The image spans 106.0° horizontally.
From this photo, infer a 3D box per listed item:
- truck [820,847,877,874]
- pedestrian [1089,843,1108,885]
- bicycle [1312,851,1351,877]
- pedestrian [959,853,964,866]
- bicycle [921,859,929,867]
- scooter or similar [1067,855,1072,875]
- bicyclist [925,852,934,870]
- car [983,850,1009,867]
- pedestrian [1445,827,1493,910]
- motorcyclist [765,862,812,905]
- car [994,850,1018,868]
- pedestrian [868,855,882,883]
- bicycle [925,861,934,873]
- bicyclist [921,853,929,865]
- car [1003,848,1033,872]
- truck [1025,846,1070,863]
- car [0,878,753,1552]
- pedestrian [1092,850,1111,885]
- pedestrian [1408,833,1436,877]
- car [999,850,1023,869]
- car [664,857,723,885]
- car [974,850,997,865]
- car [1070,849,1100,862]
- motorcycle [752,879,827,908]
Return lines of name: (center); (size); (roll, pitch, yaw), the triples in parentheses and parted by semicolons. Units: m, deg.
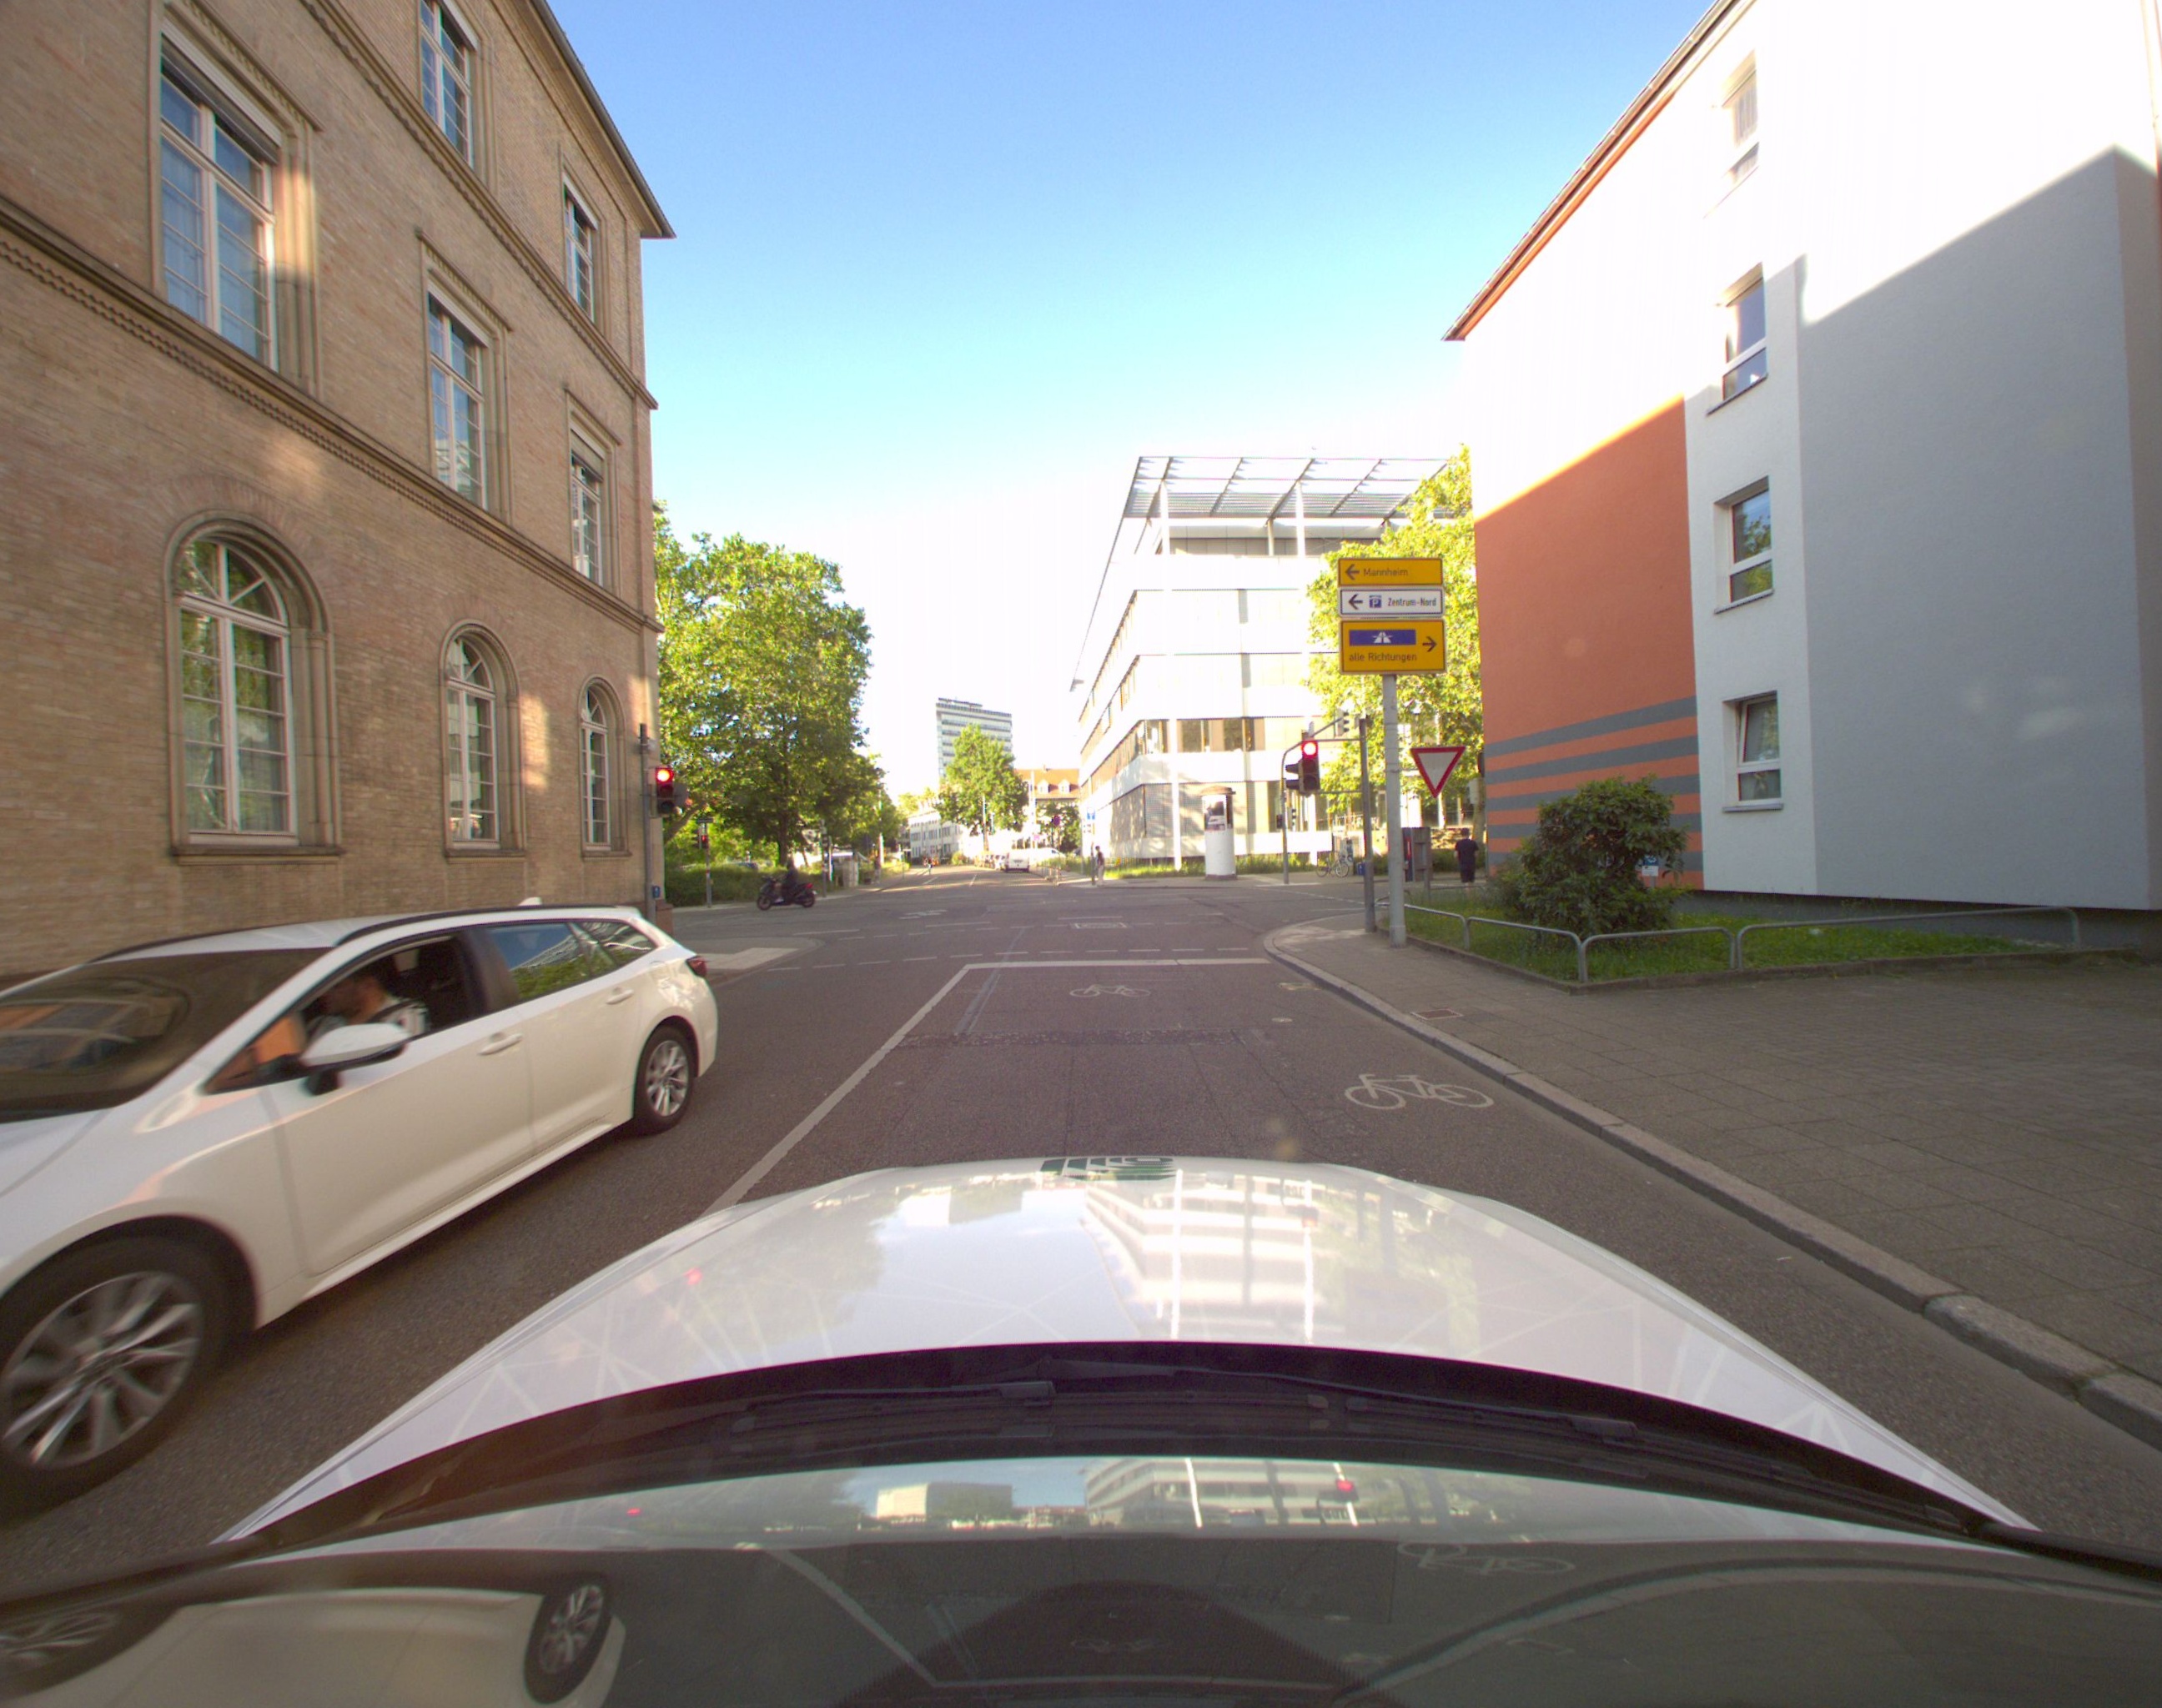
truck: (-21.611, 0.587, 75.836); (4.825, 2.399, 2.082); (-2, 0, -8)
pedestrian: (0.831, 0.454, 37.940); (0.555, 1.850, 0.680); (-5, 1, 18)
bicycle: (11.028, 0.432, 35.920); (0.510, 1.049, 1.670); (-4, 3, -33)
pedestrian: (-15.940, 0.726, 108.376); (0.435, 1.607, 0.489); (-2, 0, -24)
bicycle: (-20.905, 1.197, 109.271); (0.865, 1.009, 2.407); (-5, 0, -8)
scooter or similar: (-0.829, 0.767, 58.755); (0.329, 1.424, 1.333); (0, -1, -4)
bicyclist: (-12.983, 0.620, 69.720); (0.615, 1.532, 0.901); (-3, 0, -7)
car: (-9.028, 0.442, 85.973); (1.893, 1.655, 4.390); (-2, 1, -16)
pedestrian: (8.858, 0.317, 18.612); (0.704, 1.840, 0.837); (0, 0, 1)
motorcyclist: (-10.199, 1.011, 28.442); (1.289, 1.419, 0.821); (-2, 0, 0)
car: (-7.270, 0.486, 78.676); (1.889, 1.555, 4.398); (-2, 1, -11)
pedestrian: (-13.002, 0.936, 51.448); (0.703, 1.723, 0.951); (-3, 0, -11)
bicycle: (-12.961, 1.148, 69.706); (0.615, 0.969, 1.837); (-3, 0, -7)
bicyclist: (-20.941, 0.661, 109.288); (0.865, 1.515, 1.016); (-5, 0, -9)
car: (-5.089, 0.457, 64.925); (2.084, 1.795, 4.403); (-2, 1, -8)
truck: (-4.247, 0.084, 103.368); (5.351, 2.013, 1.988); (-2, 0, -17)
car: (-3.459, 0.981, 3.628); (1.879, 1.476, 4.548); (-4, 0, 3)
pedestrian: (0.923, 0.612, 37.330); (0.561, 1.540, 0.673); (-5, 1, -16)
pedestrian: (14.281, 0.034, 34.133); (0.834, 1.840, 0.707); (0, 0, -8)
car: (-6.336, 0.511, 73.278); (1.887, 1.555, 4.403); (-2, 1, -8)
car: (-37.171, 1.610, 78.125); (4.551, 2.391, 2.069); (-3, 0, -7)
car: (-11.277, 0.434, 95.971); (1.893, 1.655, 4.390); (-2, 1, -16)
car: (0.505, 0.190, 104.439); (3.563, 1.546, 1.549); (-2, 0, -17)
motorcycle: (-10.173, 1.377, 28.437); (2.290, 0.888, 0.821); (-2, 0, 0)
